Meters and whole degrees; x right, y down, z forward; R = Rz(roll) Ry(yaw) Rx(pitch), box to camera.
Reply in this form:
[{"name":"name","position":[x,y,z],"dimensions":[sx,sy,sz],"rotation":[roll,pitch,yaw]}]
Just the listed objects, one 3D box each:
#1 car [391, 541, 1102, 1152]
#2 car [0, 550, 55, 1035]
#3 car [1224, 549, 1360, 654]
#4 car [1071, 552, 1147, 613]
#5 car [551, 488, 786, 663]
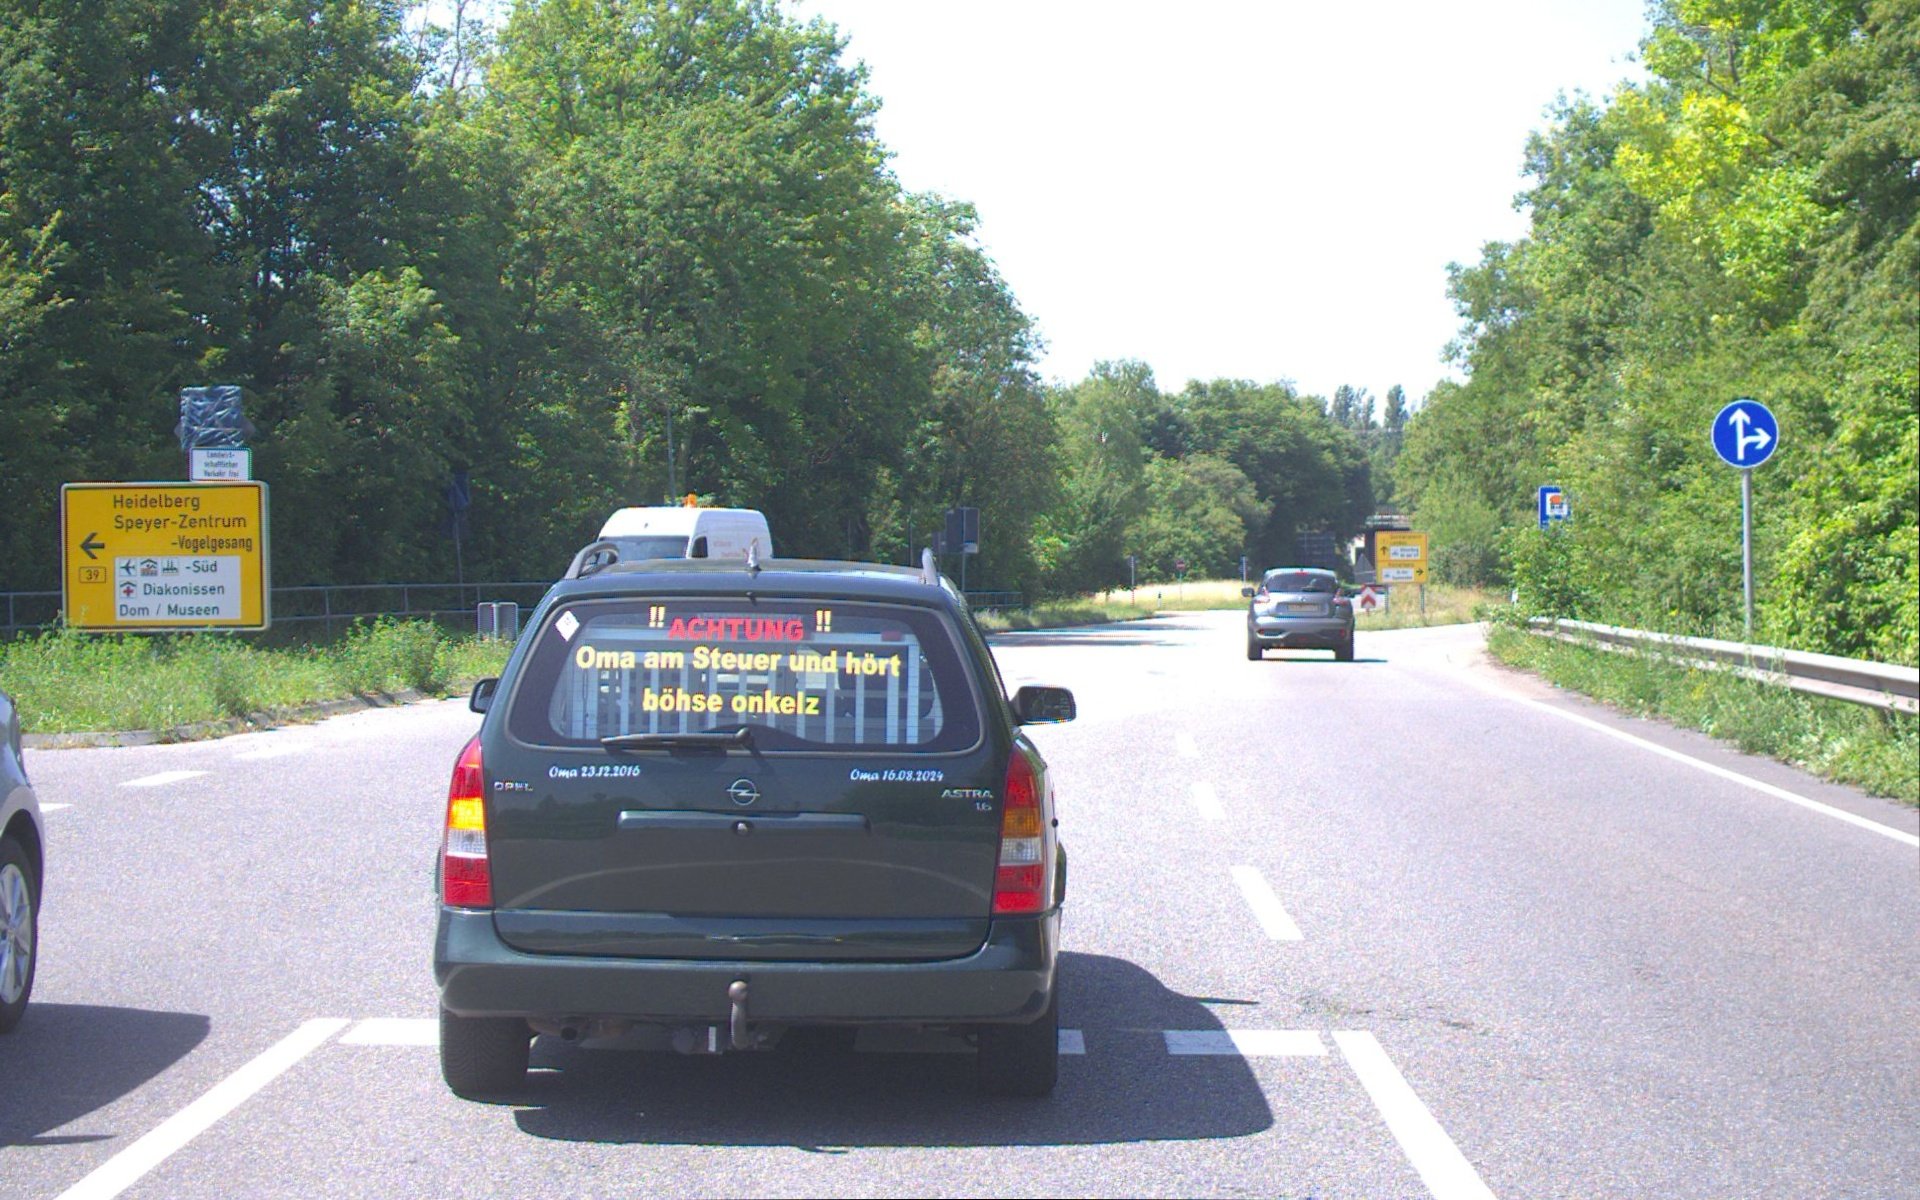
[{"name":"car","position":[-0.620,0.571,10.264],"dimensions":[1.720,1.452,3.798],"rotation":[0,1,-3]},{"name":"car","position":[-3.621,0.570,8.700],"dimensions":[1.644,1.414,3.766],"rotation":[0,1,0]},{"name":"car","position":[5.586,-0.007,58.289],"dimensions":[1.843,1.679,4.000],"rotation":[0,1,-1]},{"name":"car","position":[7.999,-0.959,185.132],"dimensions":[1.993,3.215,4.809],"rotation":[-1,1,-27]},{"name":"car","position":[-4.933,-0.441,59.170],"dimensions":[2.107,2.840,6.008],"rotation":[1,1,15]}]
